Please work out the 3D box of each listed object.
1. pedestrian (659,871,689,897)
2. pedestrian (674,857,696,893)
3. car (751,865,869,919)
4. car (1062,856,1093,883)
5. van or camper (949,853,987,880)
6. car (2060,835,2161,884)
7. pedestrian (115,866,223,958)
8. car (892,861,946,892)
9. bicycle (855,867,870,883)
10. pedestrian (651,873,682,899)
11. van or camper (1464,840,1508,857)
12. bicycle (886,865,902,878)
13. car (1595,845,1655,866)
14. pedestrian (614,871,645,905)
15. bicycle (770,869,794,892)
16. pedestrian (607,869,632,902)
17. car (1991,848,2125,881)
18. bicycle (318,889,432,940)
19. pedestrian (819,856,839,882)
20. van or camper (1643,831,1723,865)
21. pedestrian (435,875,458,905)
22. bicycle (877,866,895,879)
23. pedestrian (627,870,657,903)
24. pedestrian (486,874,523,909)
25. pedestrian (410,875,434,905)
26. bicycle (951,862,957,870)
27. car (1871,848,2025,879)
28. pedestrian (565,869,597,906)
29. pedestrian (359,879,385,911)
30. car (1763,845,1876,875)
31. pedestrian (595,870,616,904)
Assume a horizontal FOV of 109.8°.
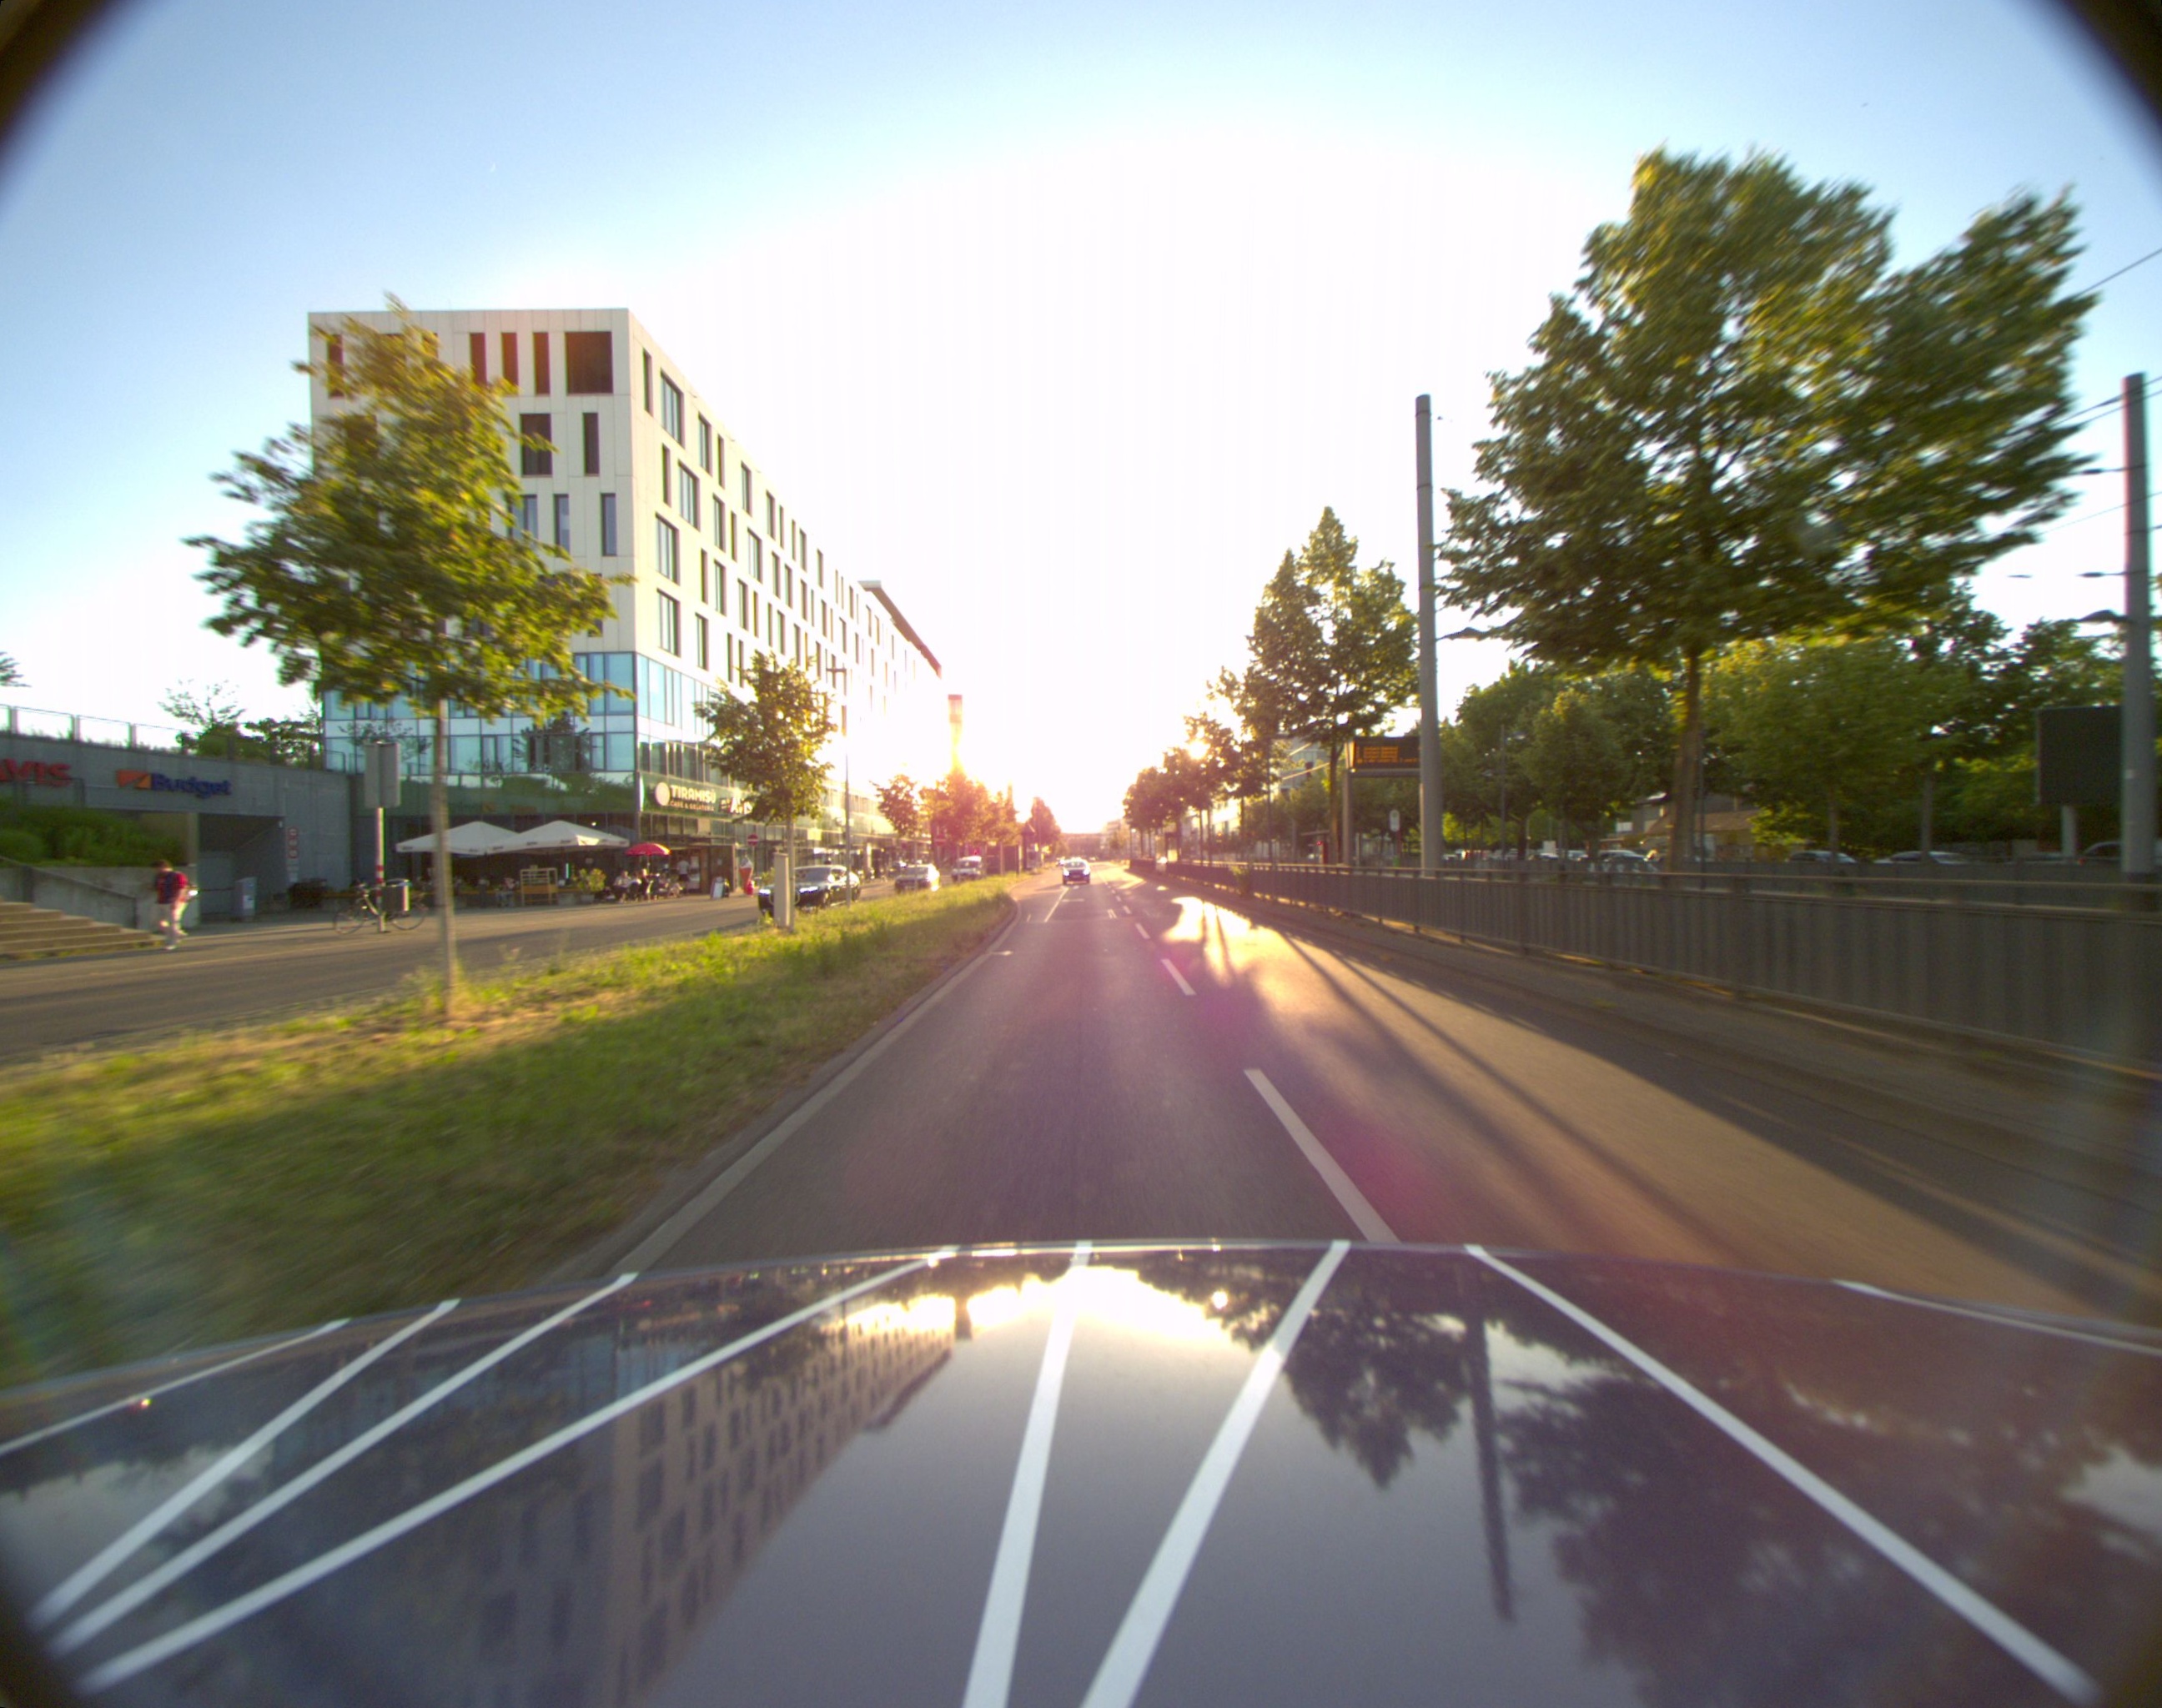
[{"bbox_3d":[-18.333,1.351,34.214,0.975,1.119,0.685,1,0,1],"label":"pedestrian"},{"bbox_3d":[-19.436,1.023,37.316,0.661,1.749,0.686,1,0,18],"label":"pedestrian"},{"bbox_3d":[-8.732,1.167,25.105,1.924,1.492,5.411,-1,0,0],"label":"car"},{"bbox_3d":[-0.206,0.965,48.164,1.828,1.625,4.000,-1,0,0],"label":"car"},{"bbox_3d":[-8.421,0.915,57.128,1.963,1.908,4.830,-3,0,1],"label":"van or camper"},{"bbox_3d":[35.947,0.156,25.000,1.998,1.576,4.298,-1,0,2],"label":"car"},{"bbox_3d":[-17.304,1.067,14.444,0.696,1.645,1.078,-1,0,0],"label":"pedestrian"},{"bbox_3d":[-8.385,1.134,39.684,1.813,1.492,4.479,-1,0,0],"label":"car"},{"bbox_3d":[-15.339,1.452,53.287,0.388,1.102,2.148,2,0,1],"label":"bicycle"},{"bbox_3d":[-18.222,1.408,33.411,0.975,1.119,0.685,1,0,1],"label":"pedestrian"},{"bbox_3d":[54.777,-0.735,102.873,4.880,2.002,2.002,-3,0,14],"label":"van or camper"},{"bbox_3d":[-15.351,1.451,62.367,0.530,1.034,1.878,1,0,12],"label":"bicycle"},{"bbox_3d":[41.387,0.099,57.916,1.998,1.521,4.002,-1,0,5],"label":"car"},{"bbox_3d":[-17.620,1.320,29.676,0.782,1.283,0.685,1,0,7],"label":"pedestrian"},{"bbox_3d":[-15.687,1.379,39.913,0.641,1.126,1.873,1,0,-3],"label":"bicycle"},{"bbox_3d":[-18.571,1.268,30.566,0.685,1.283,0.628,1,0,-12],"label":"pedestrian"},{"bbox_3d":[46.292,0.471,36.133,1.723,1.440,3.659,-1,0,2],"label":"car"},{"bbox_3d":[-16.549,1.394,17.879,0.544,1.037,1.915,-1,0,20],"label":"bicycle"},{"bbox_3d":[-18.001,1.058,54.299,1.029,1.872,0.947,-1,0,-1],"label":"pedestrian"},{"bbox_3d":[48.499,-0.447,61.399,2.397,2.548,5.635,-1,0,7],"label":"van or camper"},{"bbox_3d":[-26.267,1.500,31.452,0.475,1.208,0.535,-1,1,7],"label":"pedestrian"},{"bbox_3d":[-15.242,1.450,59.493,0.530,1.034,1.919,1,0,12],"label":"bicycle"},{"bbox_3d":[-17.592,1.295,30.455,0.776,1.283,0.685,1,0,7],"label":"pedestrian"},{"bbox_3d":[-21.430,1.391,28.249,0.745,1.258,0.771,-1,0,1],"label":"pedestrian"},{"bbox_3d":[-26.737,1.457,30.826,0.475,1.208,0.535,-1,1,7],"label":"pedestrian"},{"bbox_3d":[-15.487,1.464,92.672,0.531,1.034,2.072,1,0,-6],"label":"bicycle"},{"bbox_3d":[36.689,0.376,32.335,1.998,1.194,4.090,-1,0,2],"label":"car"},{"bbox_3d":[-18.730,1.244,28.476,0.745,1.360,0.770,-1,0,-11],"label":"pedestrian"},{"bbox_3d":[-27.808,1.594,29.811,0.475,1.208,0.535,-1,1,7],"label":"pedestrian"},{"bbox_3d":[37.437,0.279,38.690,1.998,1.399,4.001,-1,0,3],"label":"car"},{"bbox_3d":[-18.577,1.294,29.680,0.664,1.283,0.683,1,0,-32],"label":"pedestrian"}]
